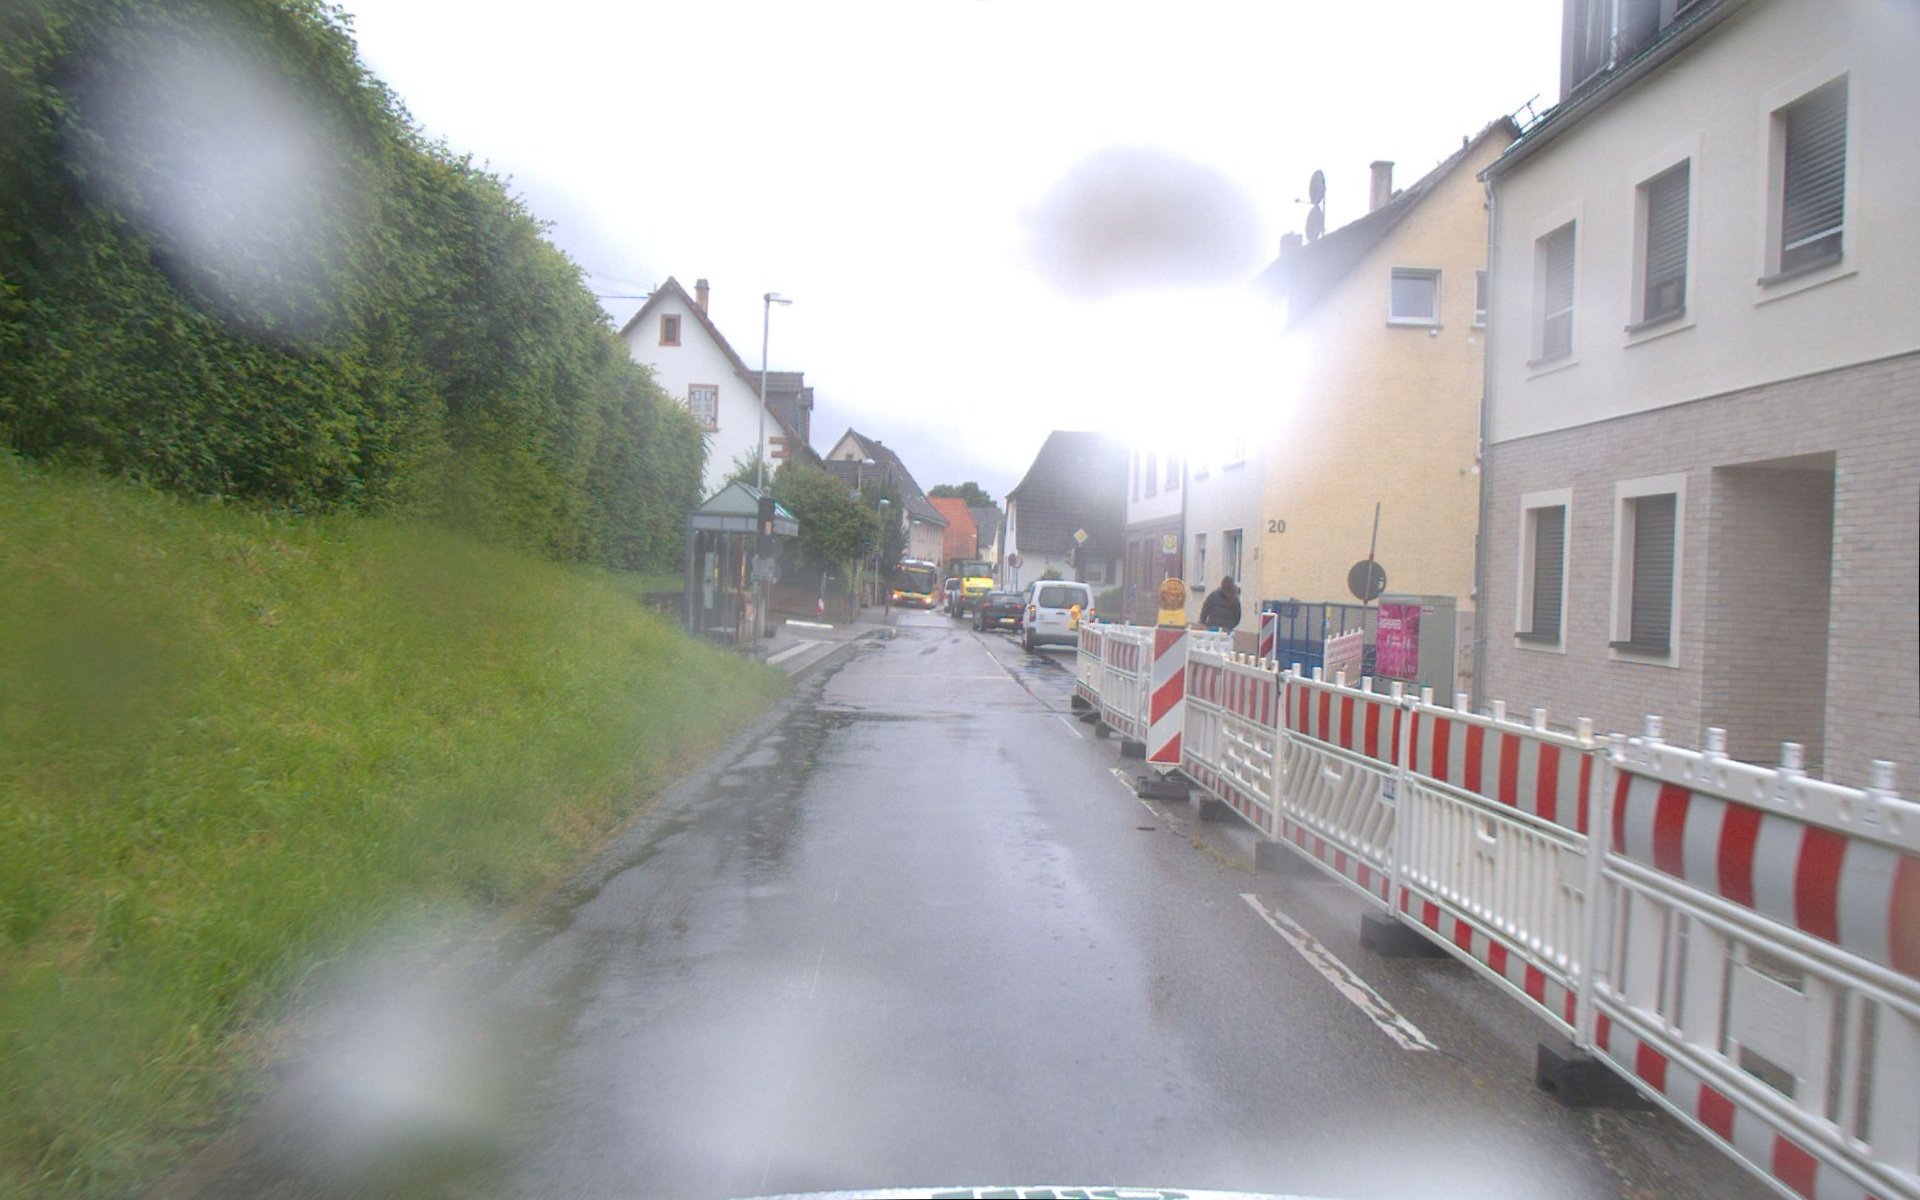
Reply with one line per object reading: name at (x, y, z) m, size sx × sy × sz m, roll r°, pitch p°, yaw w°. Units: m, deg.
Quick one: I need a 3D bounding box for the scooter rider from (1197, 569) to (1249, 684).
scooter rider at (4.144, 0.420, 26.056) m, size 0.715 × 1.763 × 0.518 m, roll 2°, pitch 0°, yaw 6°

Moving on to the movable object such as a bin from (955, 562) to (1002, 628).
movable object such as a bin at (0.778, -0.245, 72.688) m, size 1.692 × 2.699 × 3.972 m, roll 3°, pitch 1°, yaw -3°

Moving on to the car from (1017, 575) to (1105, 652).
car at (2.593, 0.319, 43.293) m, size 1.856 × 1.825 × 3.812 m, roll 3°, pitch 1°, yaw -2°

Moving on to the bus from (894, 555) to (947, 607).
bus at (-2.551, -1.350, 109.894) m, size 2.595 × 3.051 × 12.198 m, roll 3°, pitch 2°, yaw 2°

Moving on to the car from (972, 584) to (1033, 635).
car at (1.491, 0.316, 59.272) m, size 1.774 × 1.624 × 3.753 m, roll 3°, pitch 1°, yaw -3°

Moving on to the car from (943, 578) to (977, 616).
car at (0.007, -0.201, 95.589) m, size 1.691 × 2.042 × 3.975 m, roll 3°, pitch 1°, yaw 2°

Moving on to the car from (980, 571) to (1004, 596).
car at (2.763, -1.408, 142.746) m, size 1.952 × 2.049 × 4.002 m, roll 1°, pitch 0°, yaw 3°

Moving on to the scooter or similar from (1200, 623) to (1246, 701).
scooter or similar at (4.125, 0.959, 25.975) m, size 0.607 × 1.147 × 1.403 m, roll 2°, pitch 0°, yaw 6°

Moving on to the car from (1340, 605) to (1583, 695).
car at (9.726, 0.947, 32.272) m, size 4.062 × 1.324 × 1.911 m, roll 5°, pitch 0°, yaw -2°
